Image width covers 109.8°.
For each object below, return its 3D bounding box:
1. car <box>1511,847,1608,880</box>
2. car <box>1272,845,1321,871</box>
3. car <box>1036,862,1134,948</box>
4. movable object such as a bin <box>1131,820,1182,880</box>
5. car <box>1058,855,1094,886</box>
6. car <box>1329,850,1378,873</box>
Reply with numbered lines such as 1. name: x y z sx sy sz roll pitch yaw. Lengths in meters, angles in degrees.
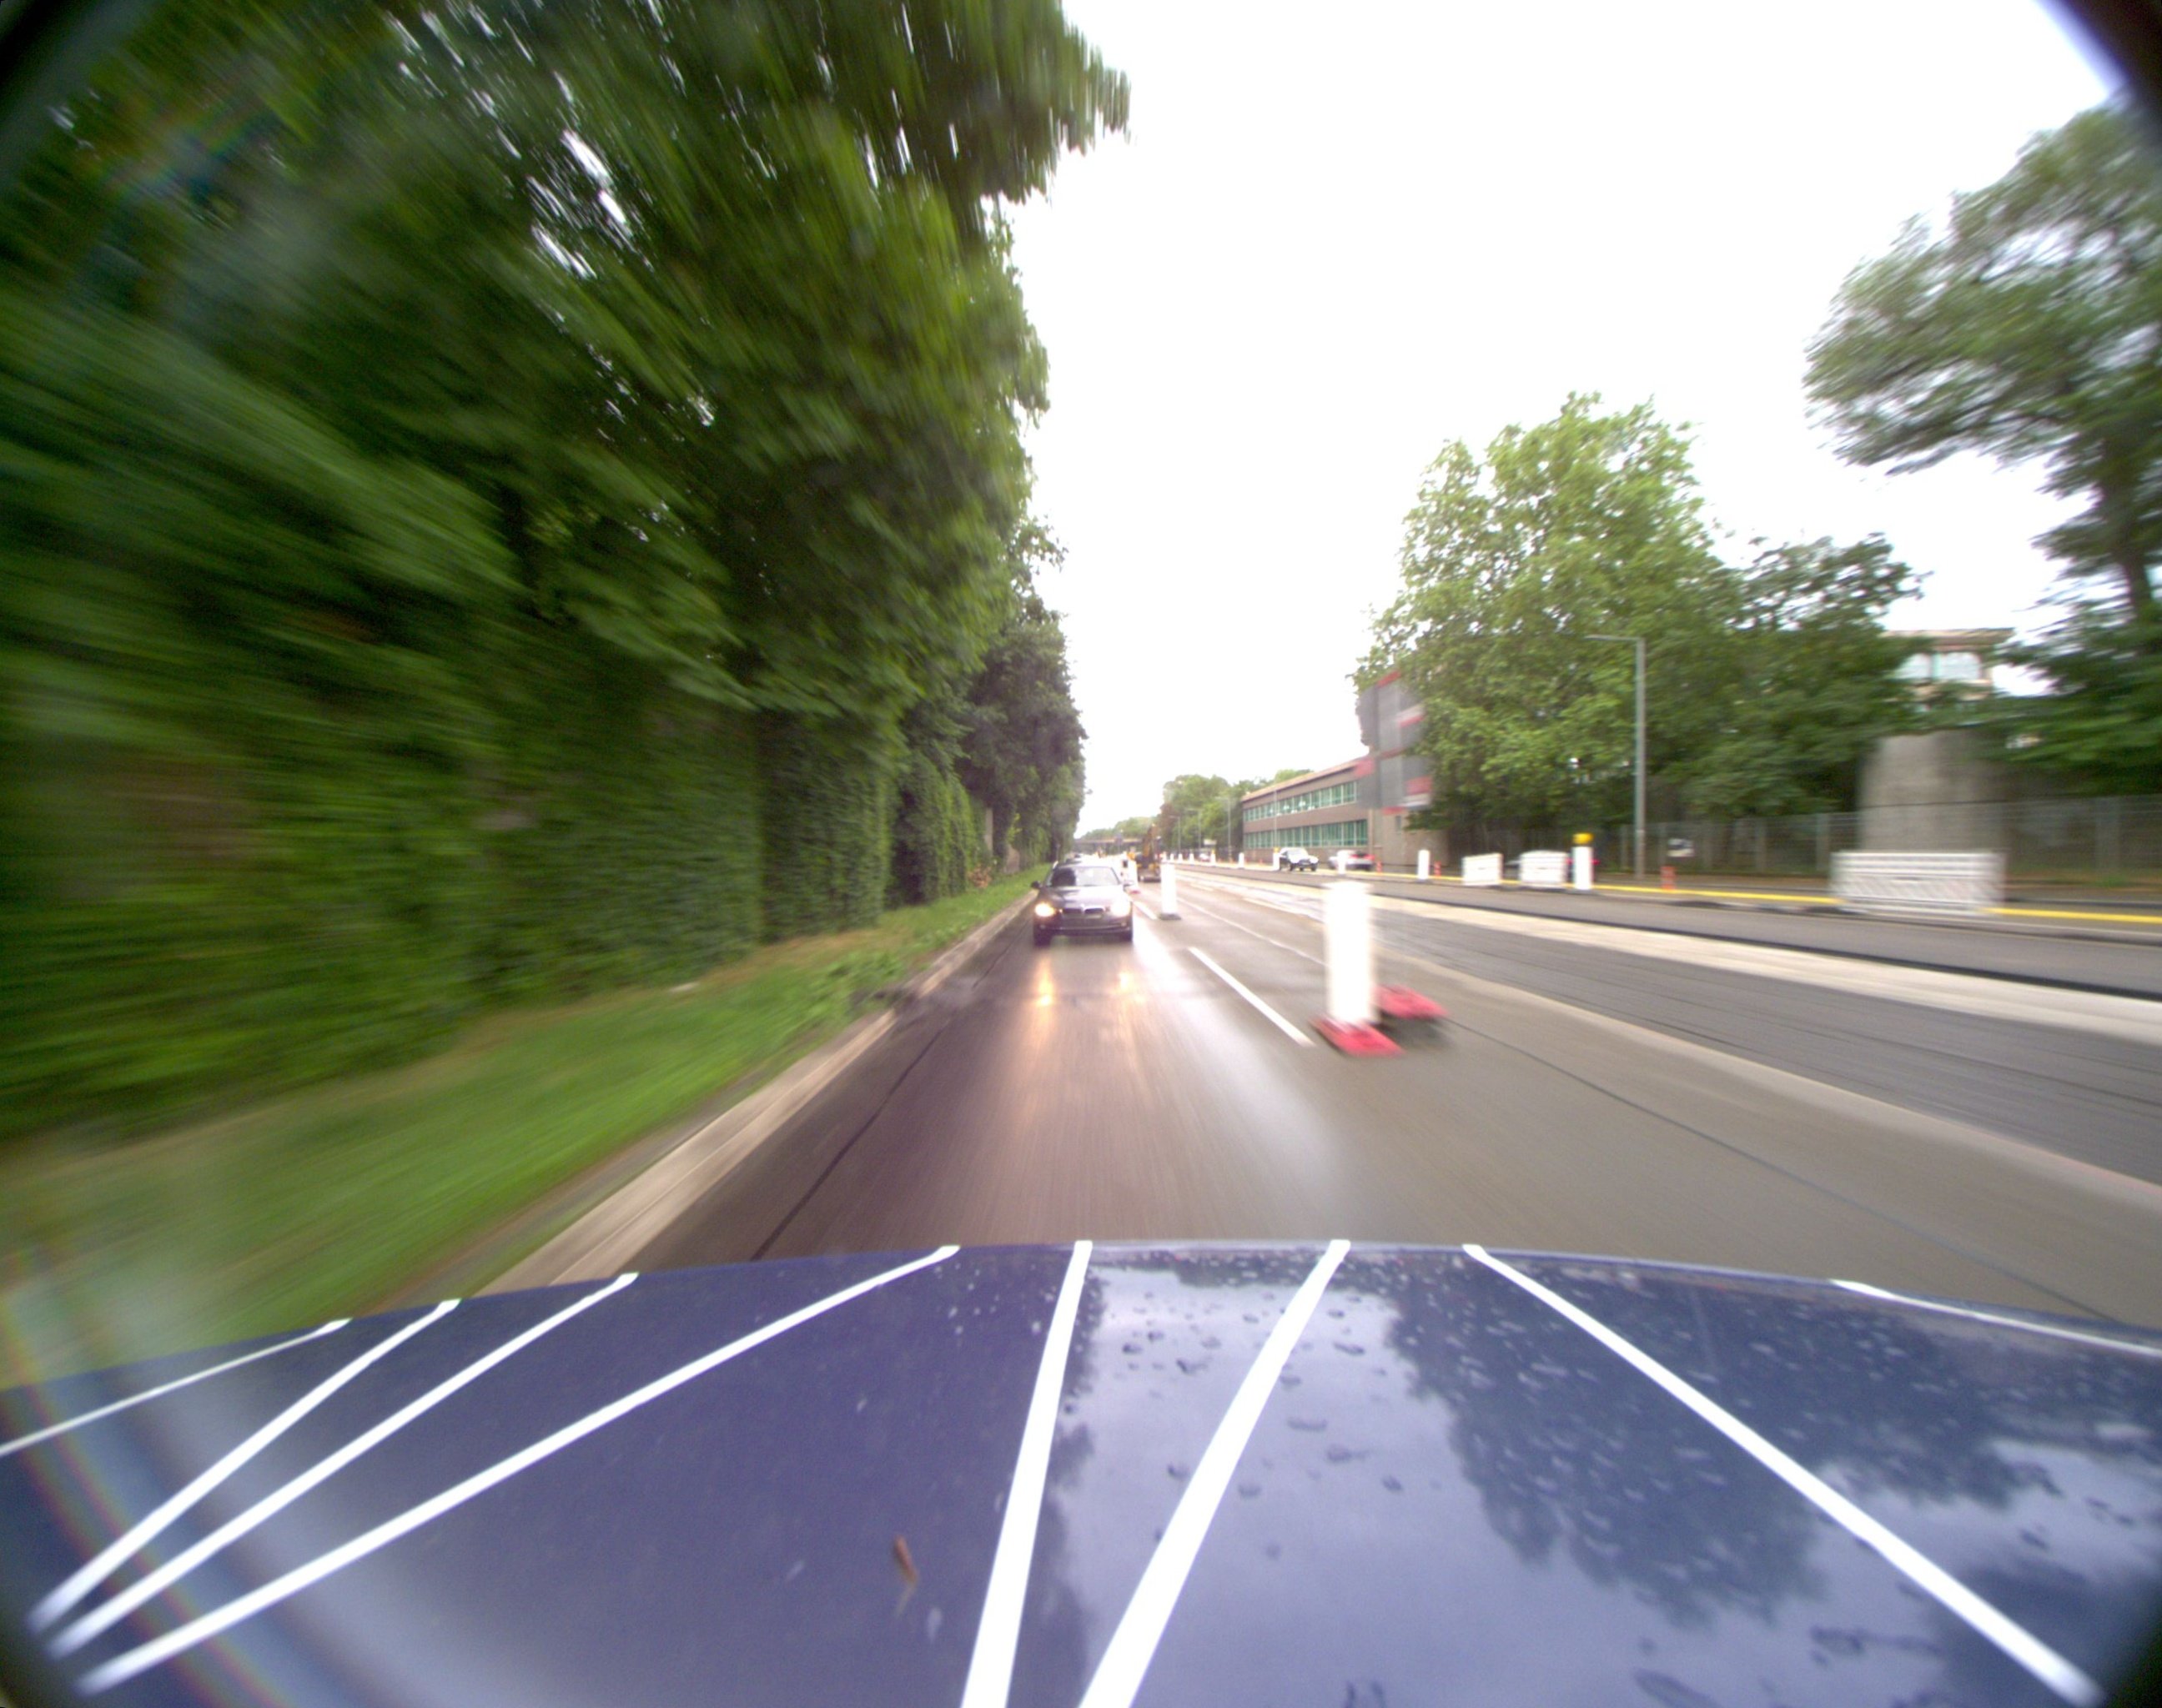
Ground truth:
1. car: 21.129 0.390 33.765 1.710 1.374 4.169 0 0 0
2. car: 15.245 0.309 53.946 1.998 1.695 4.984 3 -1 0
3. car: 0.138 0.947 15.957 1.742 1.454 4.458 -1 1 2
4. movable object such as a bin: 4.162 -0.224 42.808 1.999 3.084 5.622 -1 1 -3
5. car: -0.236 0.844 40.298 1.742 1.454 4.458 -1 1 1
6. car: 18.578 0.495 52.005 1.841 1.426 4.148 -1 1 0
